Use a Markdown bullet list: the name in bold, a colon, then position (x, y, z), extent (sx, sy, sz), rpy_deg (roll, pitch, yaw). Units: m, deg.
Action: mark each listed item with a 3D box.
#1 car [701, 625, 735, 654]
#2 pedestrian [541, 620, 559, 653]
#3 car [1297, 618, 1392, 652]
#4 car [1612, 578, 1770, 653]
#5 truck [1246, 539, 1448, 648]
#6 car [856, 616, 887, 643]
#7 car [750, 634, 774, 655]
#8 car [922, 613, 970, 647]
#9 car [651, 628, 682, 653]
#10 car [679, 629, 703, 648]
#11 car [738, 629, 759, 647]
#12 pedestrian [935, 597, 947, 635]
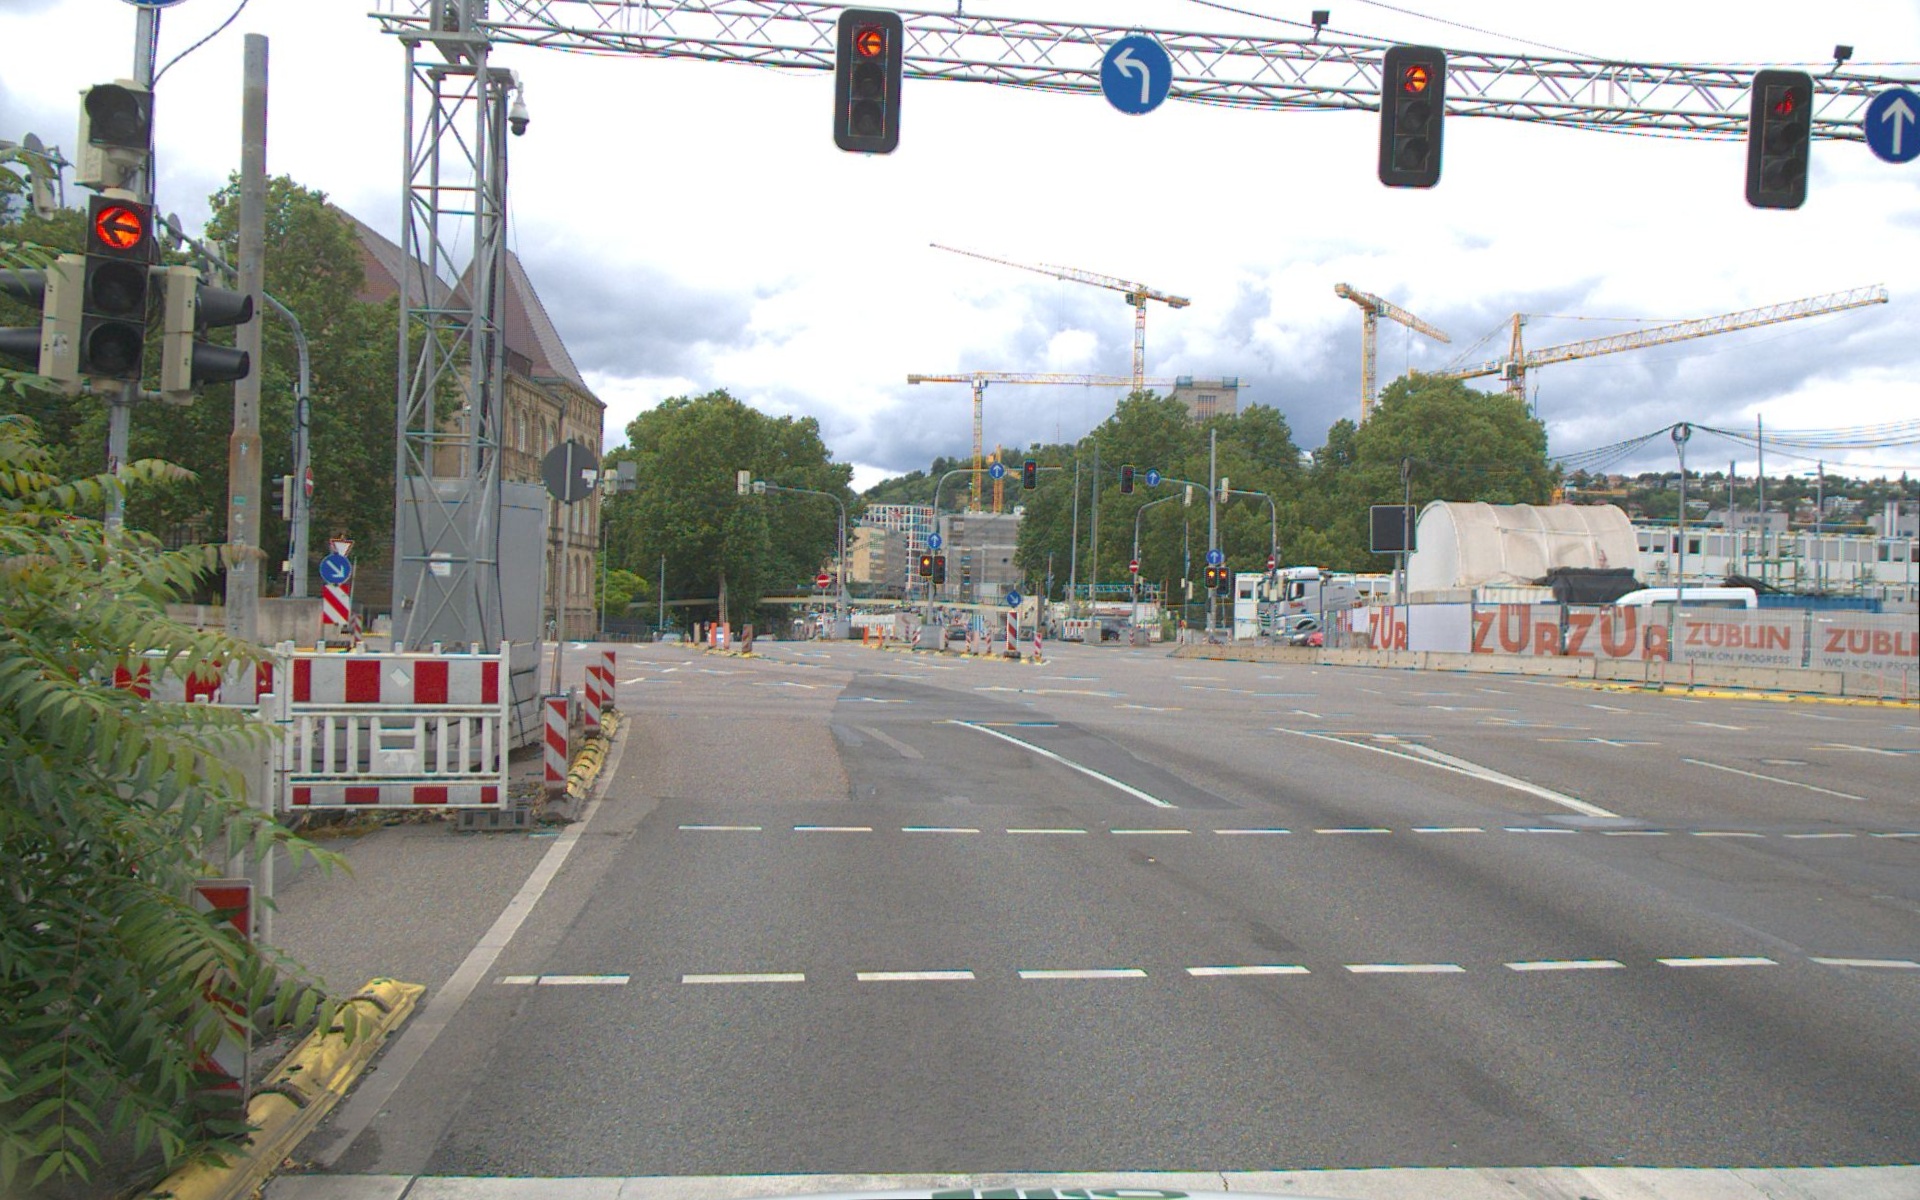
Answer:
- **car**: position (-16.824, 2.722, 115.321), extent (1.954, 1.870, 3.997), rpy_deg (1, 0, -3)
- **pedestrian**: position (-26.276, 2.333, 106.095), extent (0.930, 2.049, 0.766), rpy_deg (1, -1, 1)
- **car**: position (17.042, 1.559, 73.331), extent (3.755, 1.410, 1.792), rpy_deg (1, 0, -23)
- **car**: position (21.055, 0.446, 47.812), extent (3.902, 2.049, 2.001), rpy_deg (1, 0, 15)
- **truck**: position (19.009, -0.254, 81.154), extent (9.574, 5.047, 3.094), rpy_deg (1, -1, -21)
- **car**: position (-7.005, 2.289, 130.656), extent (1.957, 2.049, 3.990), rpy_deg (1, 0, -10)
- **car**: position (-18.558, 4.130, 154.882), extent (1.954, 1.870, 3.997), rpy_deg (1, 0, -3)
- **car**: position (-0.918, 1.921, 107.066), extent (1.962, 2.049, 4.257), rpy_deg (1, 0, -17)
- **car**: position (-23.110, 3.194, 130.299), extent (1.954, 1.870, 3.997), rpy_deg (1, 0, -3)
- **car**: position (-27.289, 3.878, 167.987), extent (1.954, 1.870, 3.997), rpy_deg (1, 0, -3)
- **car**: position (-23.236, 4.155, 181.907), extent (1.954, 1.870, 3.997), rpy_deg (1, 0, -3)
- **pedestrian**: position (-0.937, 0.784, 81.697), extent (0.574, 1.872, 0.604), rpy_deg (1, -1, -4)
